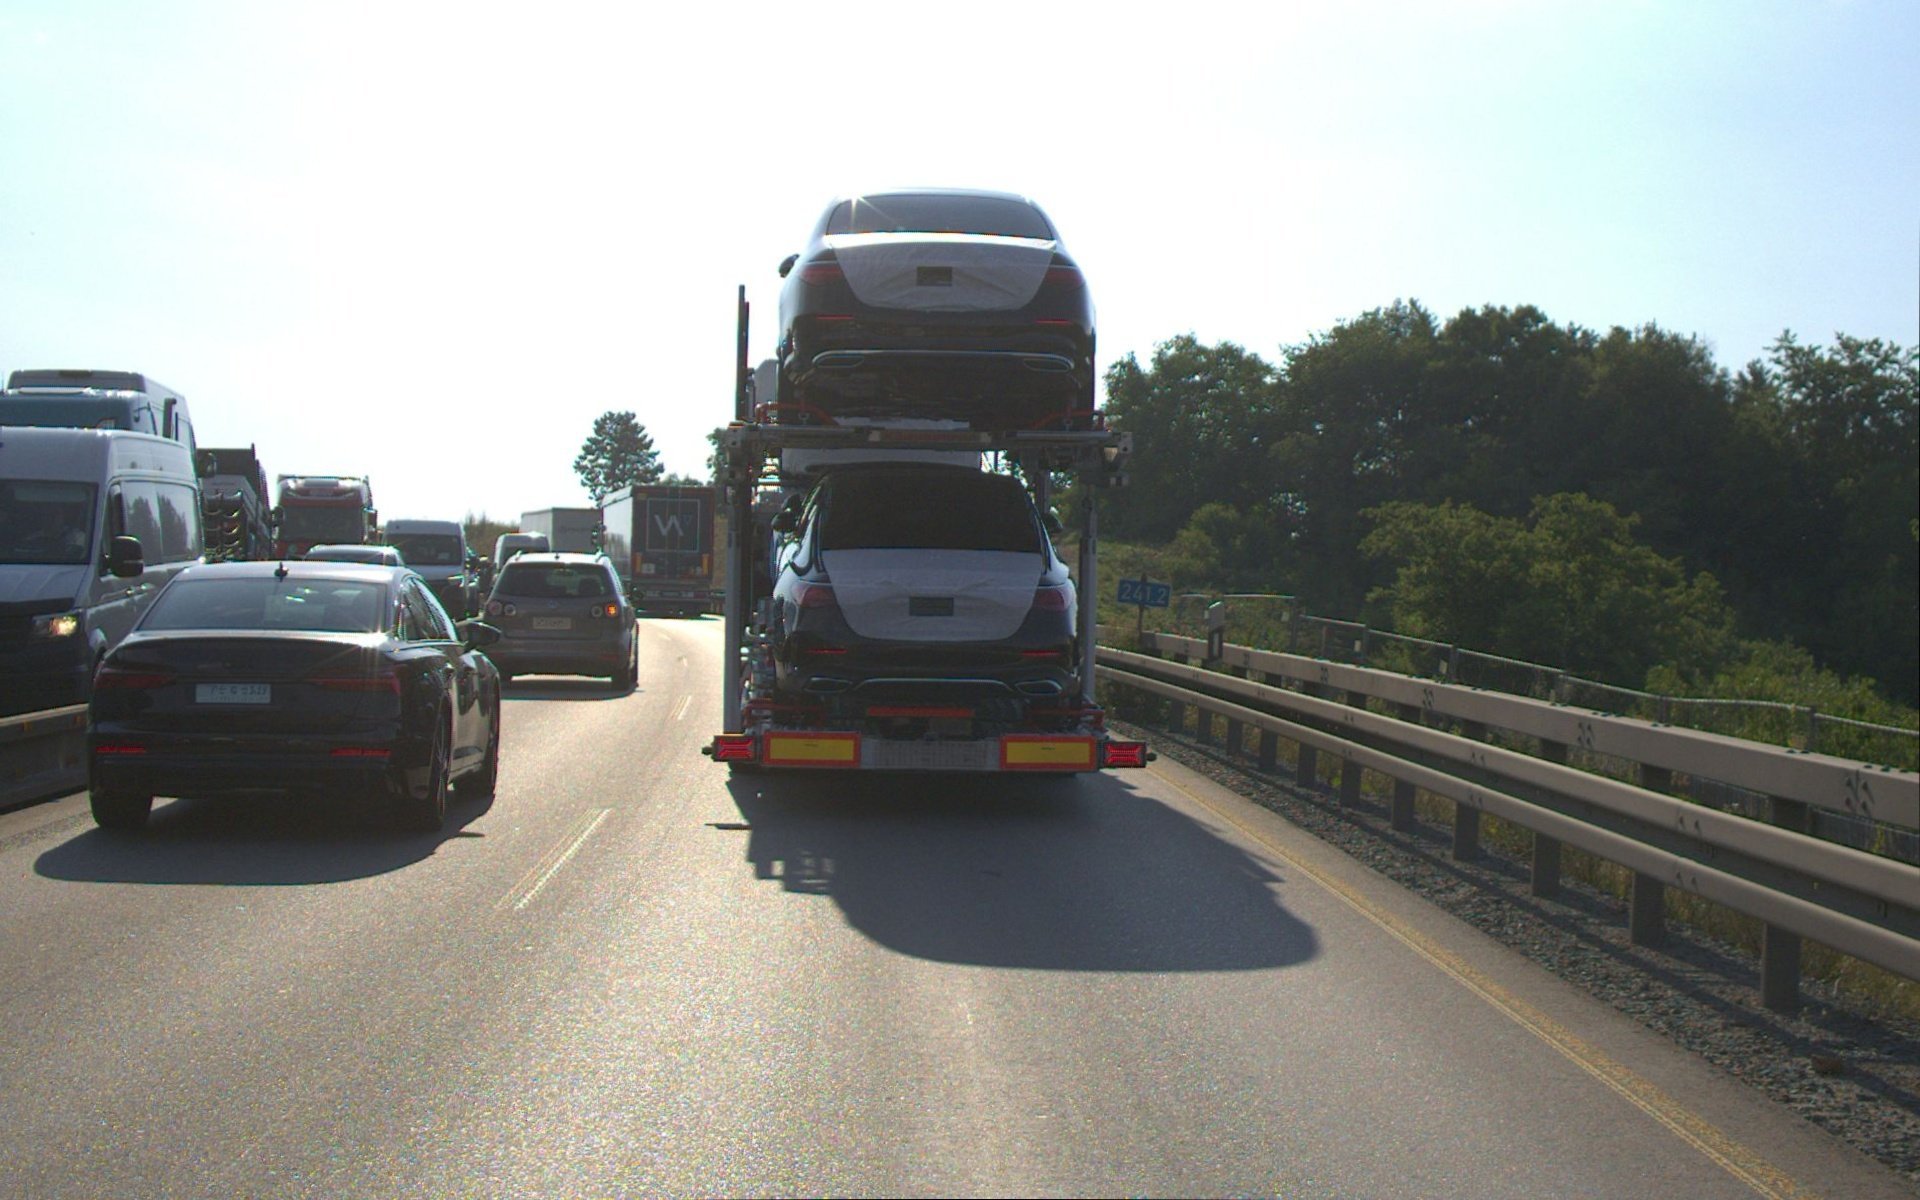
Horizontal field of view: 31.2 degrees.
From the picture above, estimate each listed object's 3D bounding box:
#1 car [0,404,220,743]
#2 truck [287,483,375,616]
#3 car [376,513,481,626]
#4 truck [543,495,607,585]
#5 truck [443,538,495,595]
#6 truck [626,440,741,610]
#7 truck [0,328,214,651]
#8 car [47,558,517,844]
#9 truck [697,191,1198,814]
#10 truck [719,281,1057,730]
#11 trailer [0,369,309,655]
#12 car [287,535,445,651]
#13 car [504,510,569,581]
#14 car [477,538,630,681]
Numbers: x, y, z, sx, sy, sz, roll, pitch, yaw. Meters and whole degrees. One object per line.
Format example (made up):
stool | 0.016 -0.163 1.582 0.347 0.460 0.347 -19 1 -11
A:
car | -7.699 -0.239 28.637 2.056 2.491 6.777 0 1 -4
truck | -18.199 -1.431 99.200 2.313 3.595 11.975 0 1 -11
car | -12.128 -0.715 78.754 2.104 2.474 6.068 0 1 -6
truck | -16.104 -2.496 144.197 2.530 3.635 8.907 0 1 -5
truck | -27.516 -1.888 192.976 2.590 3.159 6.678 0 1 -6
truck | -9.007 -2.360 110.905 3.285 5.219 9.938 0 1 -7
truck | -11.719 -1.421 46.198 2.503 4.052 5.885 0 1 -4
car | -3.741 0.482 19.852 1.934 1.394 4.961 1 1 -3
truck | -0.346 -0.600 24.644 2.799 3.485 10.606 0 1 -3
truck | -0.836 -0.850 34.109 2.837 3.779 9.988 0 1 -3
trailer | -12.485 -1.272 54.232 2.694 3.859 15.394 0 1 -5
car | -8.982 -0.126 52.303 1.870 1.688 4.597 0 1 -3
car | -15.296 -1.959 124.319 1.920 2.484 5.409 0 1 -3
car | -4.747 0.082 40.500 1.691 1.590 4.001 0 1 -6
